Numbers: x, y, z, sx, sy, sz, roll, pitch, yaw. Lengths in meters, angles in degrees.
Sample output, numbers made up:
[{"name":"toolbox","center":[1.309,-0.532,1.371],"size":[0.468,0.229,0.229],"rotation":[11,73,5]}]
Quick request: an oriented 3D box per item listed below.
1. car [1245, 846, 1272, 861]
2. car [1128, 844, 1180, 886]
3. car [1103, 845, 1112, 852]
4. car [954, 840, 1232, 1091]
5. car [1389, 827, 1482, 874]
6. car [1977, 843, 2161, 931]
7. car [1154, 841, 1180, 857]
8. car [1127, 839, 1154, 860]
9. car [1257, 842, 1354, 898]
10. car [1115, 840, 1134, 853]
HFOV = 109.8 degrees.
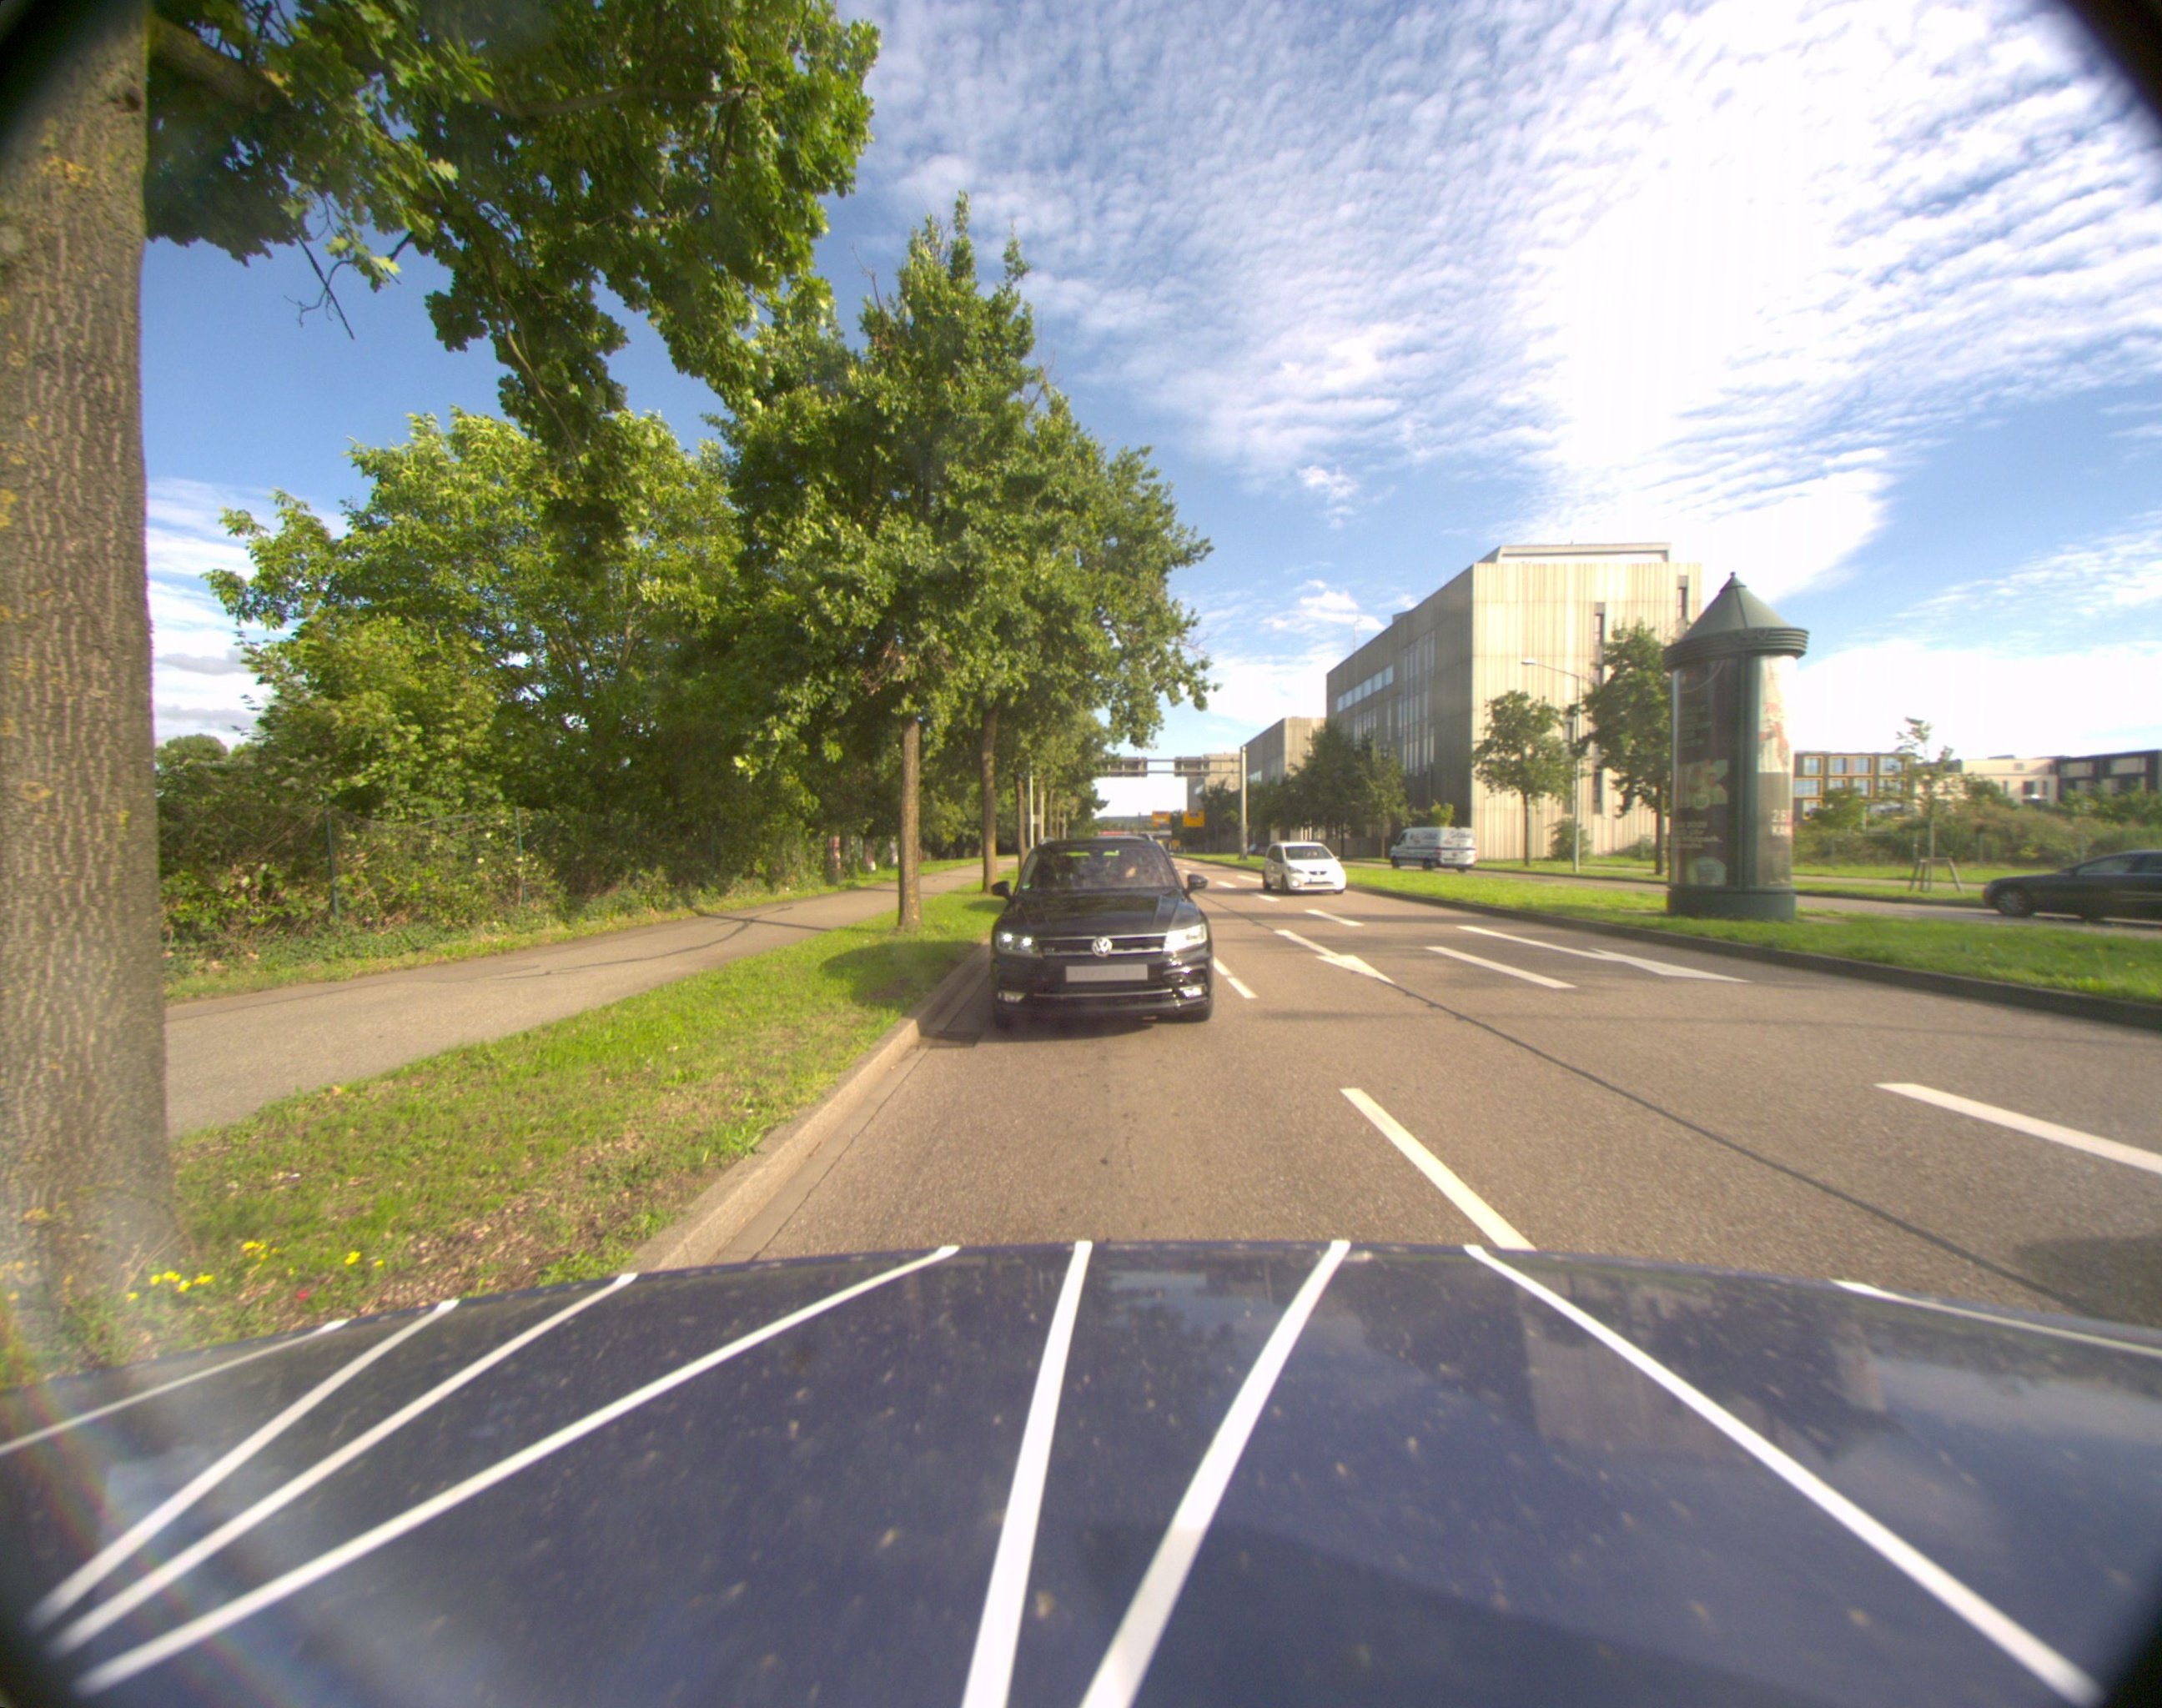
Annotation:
[{"name":"car","center":[18.463,-0.098,79.273],"size":[1.855,1.456,4.454],"rotation":[-1,1,1]},{"name":"car","center":[3.067,0.412,32.864],"size":[1.998,1.557,4.844],"rotation":[-2,1,3]},{"name":"car","center":[5.358,-1.158,151.626],"size":[1.736,1.381,3.999],"rotation":[0,1,1]},{"name":"car","center":[0.156,0.737,7.814],"size":[1.871,1.685,5.014],"rotation":[-2,1,2]},{"name":"car","center":[18.398,-0.227,39.775],"size":[2.032,2.242,5.539],"rotation":[1,1,-2]},{"name":"car","center":[20.250,0.613,14.140],"size":[1.855,1.563,4.454],"rotation":[2,1,1]},{"name":"car","center":[7.640,-0.438,67.988],"size":[1.823,1.412,4.446],"rotation":[0,1,0]},{"name":"car","center":[4.549,-0.344,58.491],"size":[1.694,1.467,4.225],"rotation":[-1,2,0]},{"name":"car","center":[6.417,0.391,22.105],"size":[1.766,1.456,3.659],"rotation":[-1,1,1]},{"name":"car","center":[4.932,-0.848,86.651],"size":[1.855,1.456,4.454],"rotation":[-1,1,1]}]
